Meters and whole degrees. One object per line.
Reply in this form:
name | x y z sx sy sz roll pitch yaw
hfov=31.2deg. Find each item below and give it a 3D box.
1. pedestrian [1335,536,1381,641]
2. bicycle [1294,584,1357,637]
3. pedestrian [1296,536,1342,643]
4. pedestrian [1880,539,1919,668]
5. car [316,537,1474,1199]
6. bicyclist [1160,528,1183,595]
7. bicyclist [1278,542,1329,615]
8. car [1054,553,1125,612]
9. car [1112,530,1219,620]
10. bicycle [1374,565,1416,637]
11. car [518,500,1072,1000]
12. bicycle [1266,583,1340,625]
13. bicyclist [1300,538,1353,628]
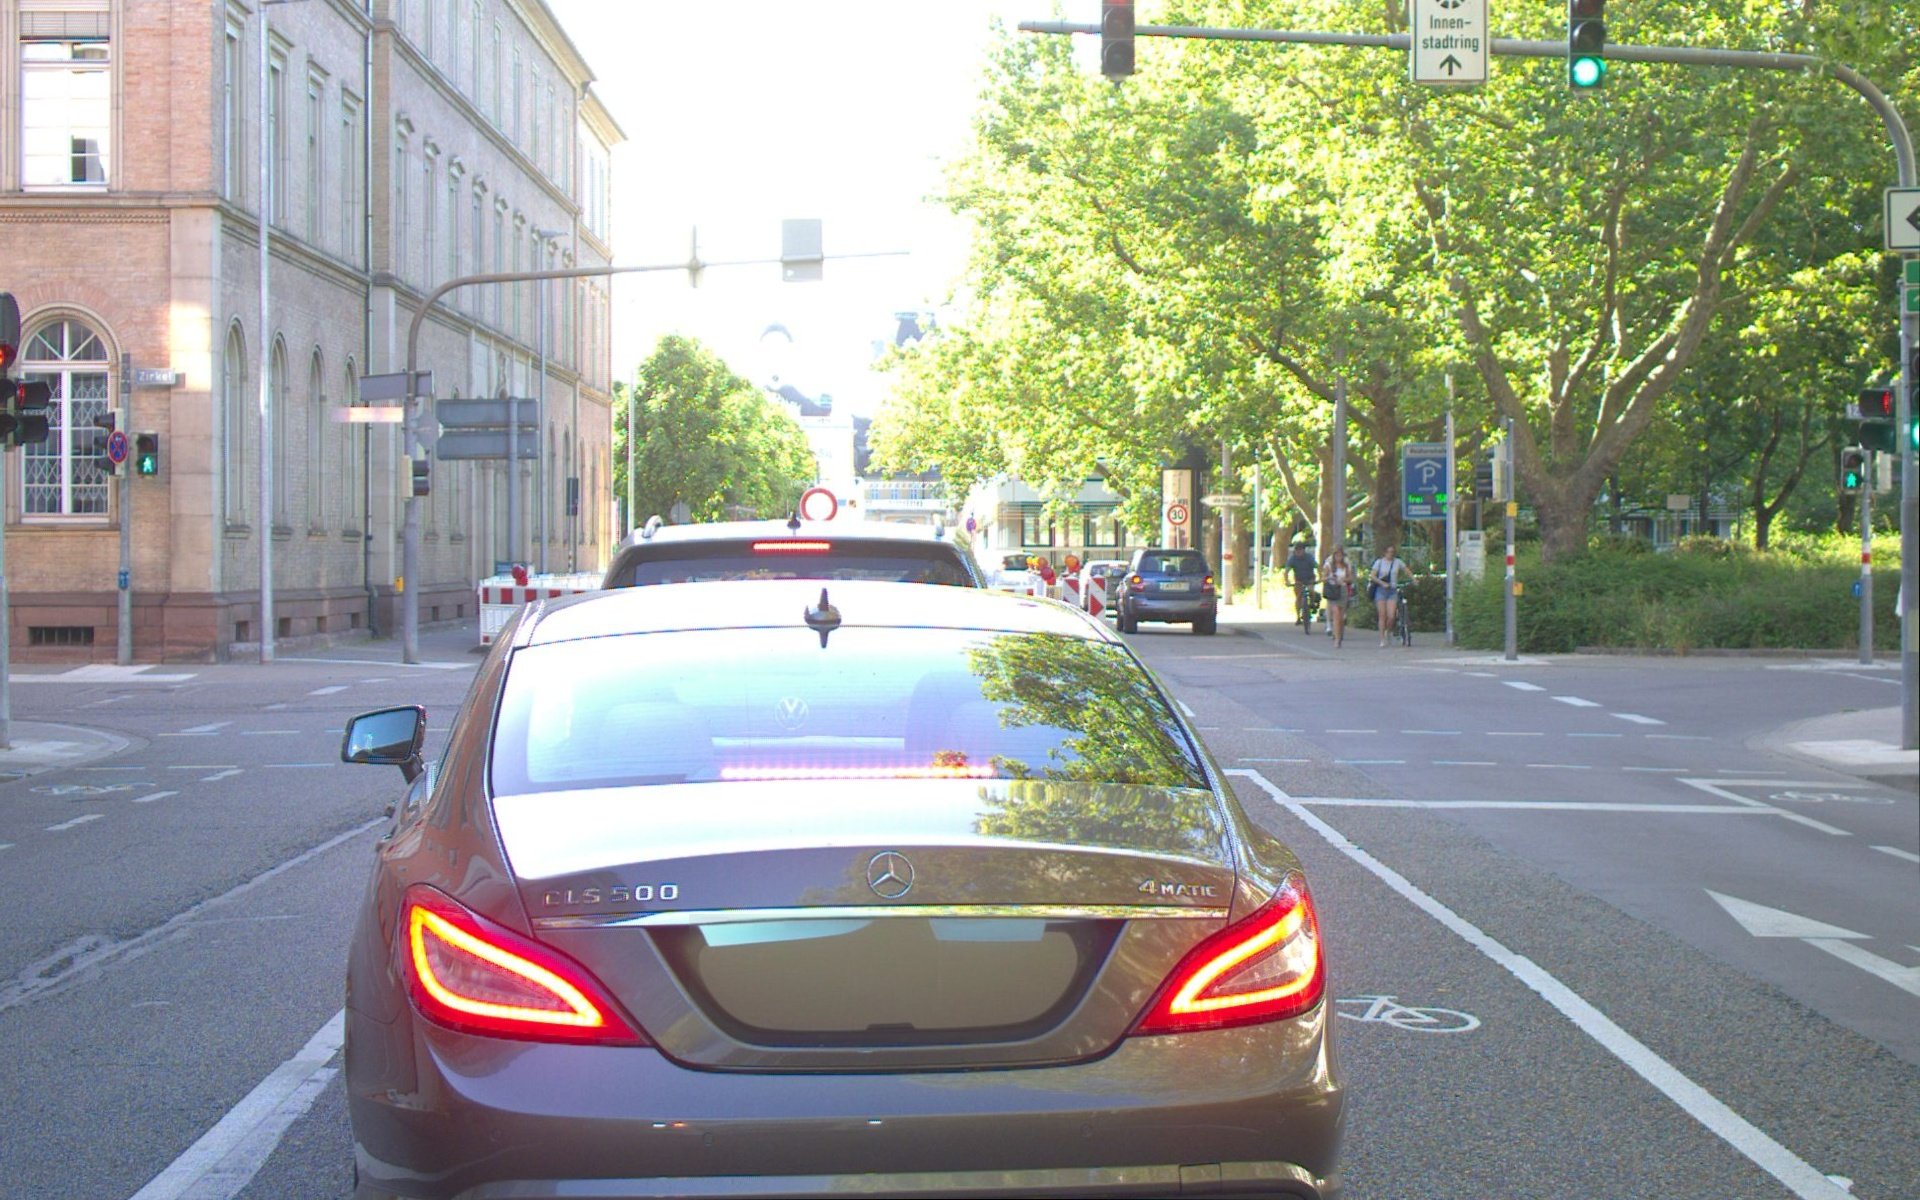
pedestrian | 6.757 -0.198 58.362 0.635 1.754 0.699 1 0 -4
bicycle | 6.647 0.181 62.692 0.828 0.921 2.617 1 1 -1
pedestrian | 6.081 -0.183 58.207 0.635 1.791 0.699 1 0 -4
pedestrian | 11.650 0.035 41.573 0.635 1.540 0.910 1 0 -12
car | -0.360 0.628 7.494 1.861 1.514 4.001 0 1 -8
bicyclist | 6.443 -1.172 104.946 0.594 2.032 0.566 1 0 -4
bicyclist | 6.582 -0.410 65.906 0.734 1.393 0.697 1 0 28
car | 3.456 -0.477 92.191 1.704 1.514 4.000 0 1 -1
car | 4.159 -0.525 70.134 1.861 1.758 4.482 0 1 -1
bicycle | 7.382 0.003 58.406 0.482 1.198 1.606 1 0 -1
car | -0.581 0.473 13.624 1.861 1.677 4.000 0 1 -1
bicycle | 6.595 0.068 65.955 0.724 0.788 1.925 1 1 28
bicyclist | 6.660 -0.318 62.565 0.825 1.612 0.957 1 0 -1
